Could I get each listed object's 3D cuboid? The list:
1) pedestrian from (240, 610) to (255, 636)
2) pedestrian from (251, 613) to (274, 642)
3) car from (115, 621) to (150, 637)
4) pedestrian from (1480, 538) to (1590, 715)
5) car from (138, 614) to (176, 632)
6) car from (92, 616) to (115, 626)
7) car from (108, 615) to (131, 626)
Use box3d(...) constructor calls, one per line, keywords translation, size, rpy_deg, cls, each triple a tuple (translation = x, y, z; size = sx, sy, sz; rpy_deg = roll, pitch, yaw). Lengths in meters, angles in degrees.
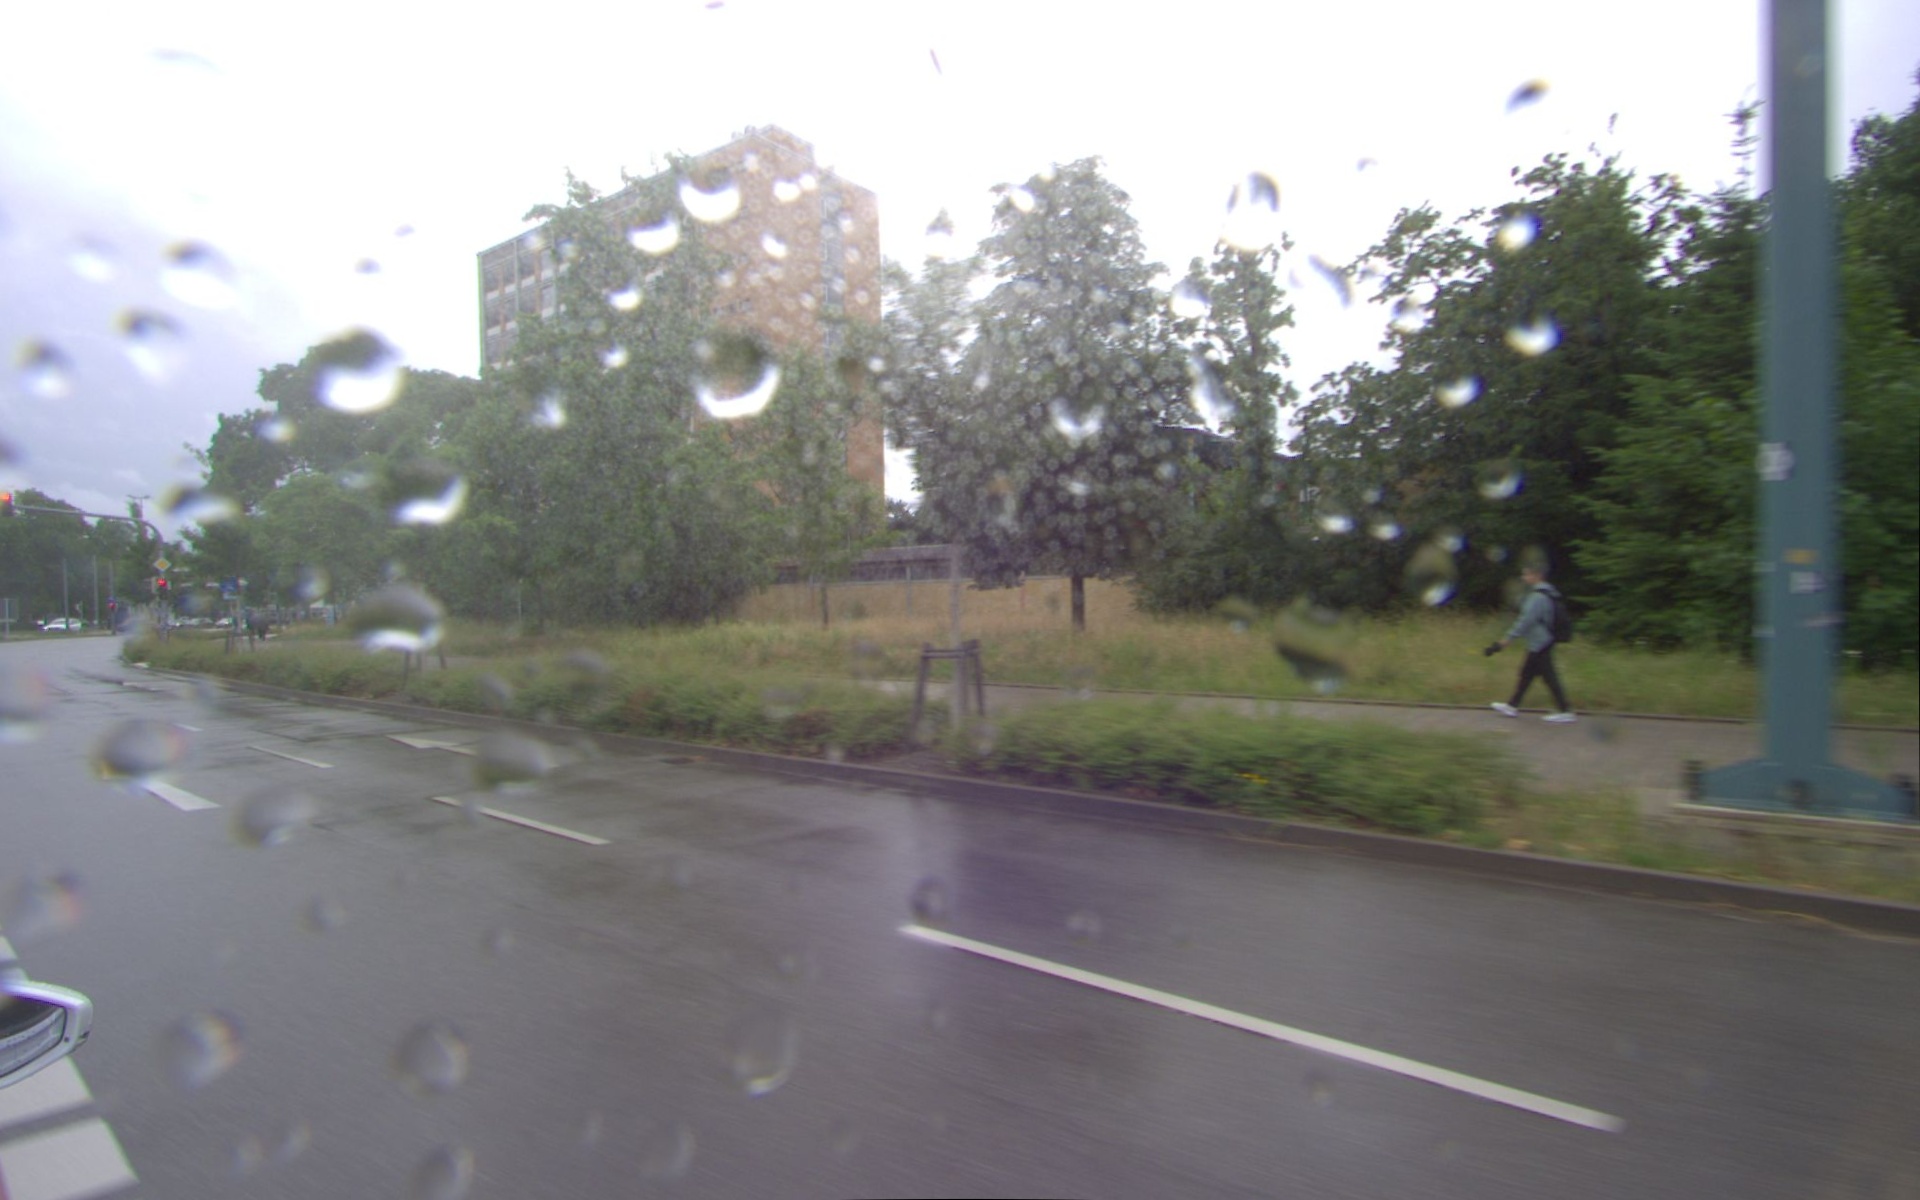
box3d(translation=(-44.259, 1.424, 62.203), size=(0.747, 1.609, 0.930), rpy_deg=(-1, 1, -36), cls="pedestrian")
box3d(translation=(-39.891, 1.560, 57.271), size=(1.013, 1.609, 0.930), rpy_deg=(-1, 1, -36), cls="pedestrian")
box3d(translation=(-103.954, 3.647, 125.886), size=(1.668, 1.714, 4.176), rpy_deg=(-1, 2, -13), cls="car")
box3d(translation=(6.279, 0.276, 10.930), size=(0.927, 1.821, 0.821), rpy_deg=(-1, 1, -43), cls="pedestrian")
box3d(translation=(-77.175, 2.189, 96.286), size=(1.767, 1.665, 4.144), rpy_deg=(-1, 0, -24), cls="car")
box3d(translation=(-146.849, 3.546, 171.778), size=(1.766, 1.665, 4.146), rpy_deg=(-1, 0, -22), cls="car")
box3d(translation=(-144.777, 3.520, 172.529), size=(1.766, 1.665, 4.146), rpy_deg=(-1, 0, -22), cls="car")
